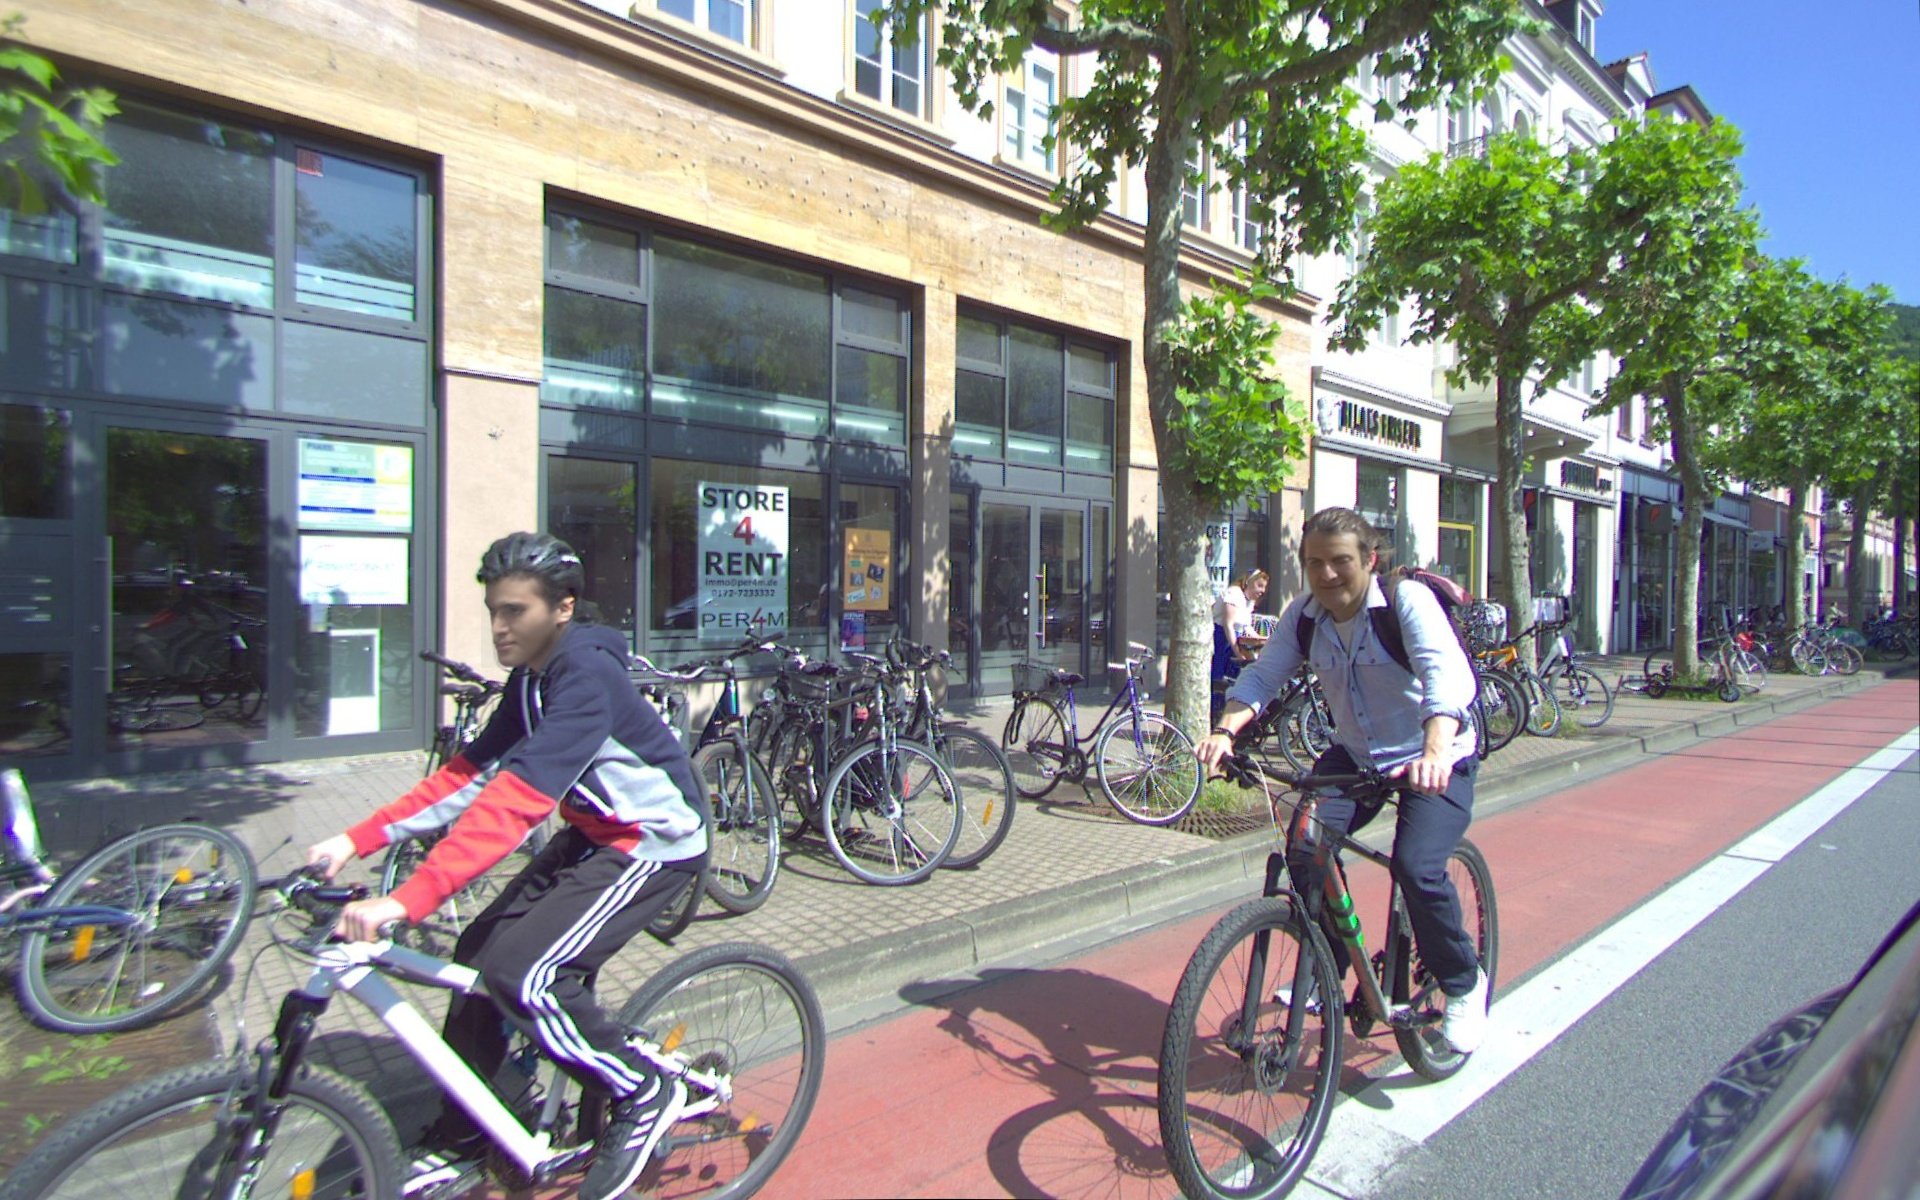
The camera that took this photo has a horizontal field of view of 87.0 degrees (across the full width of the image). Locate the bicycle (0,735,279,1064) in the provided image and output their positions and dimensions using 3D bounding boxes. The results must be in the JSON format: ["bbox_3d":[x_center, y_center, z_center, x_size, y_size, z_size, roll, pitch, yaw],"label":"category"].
[{"bbox_3d":[-3.285,0.952,3.623,1.833,0.725,0.652,0,0,29],"label":"bicycle"}]

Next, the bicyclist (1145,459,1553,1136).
[{"bbox_3d":[1.080,0.427,2.779,0.945,1.464,0.699,0,-1,-44],"label":"bicyclist"}]

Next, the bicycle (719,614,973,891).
[{"bbox_3d":[-0.686,0.702,5.456,0.465,1.216,1.848,0,0,-38],"label":"bicycle"}]

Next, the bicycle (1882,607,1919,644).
[{"bbox_3d":[31.229,0.839,32.971,0.439,1.141,1.850,0,1,-13],"label":"bicycle"}]

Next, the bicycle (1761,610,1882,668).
[{"bbox_3d":[17.923,0.792,21.100,0.487,1.141,1.848,0,-1,-29],"label":"bicycle"}]

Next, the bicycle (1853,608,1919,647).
[{"bbox_3d":[28.617,0.842,30.955,1.835,1.141,0.755,-2,0,37],"label":"bicycle"}]

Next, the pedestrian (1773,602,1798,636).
[{"bbox_3d":[31.926,0.716,39.128,0.598,1.268,0.640,-1,3,-43],"label":"pedestrian"}]

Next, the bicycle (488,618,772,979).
[{"bbox_3d":[-1.528,0.709,4.453,0.597,1.216,1.848,0,0,-38],"label":"bicycle"}]

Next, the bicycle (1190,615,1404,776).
[{"bbox_3d":[2.764,0.730,8.464,0.469,1.176,1.733,0,0,-38],"label":"bicycle"}]

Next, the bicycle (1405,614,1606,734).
[{"bbox_3d":[5.708,0.726,10.682,0.723,1.123,1.733,0,0,-38],"label":"bicycle"}]

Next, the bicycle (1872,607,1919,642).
[{"bbox_3d":[31.974,0.825,34.072,0.440,1.141,1.845,-1,1,-37],"label":"bicycle"}]

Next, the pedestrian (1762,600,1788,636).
[{"bbox_3d":[30.617,0.676,38.030,0.523,1.349,0.682,1,0,-43],"label":"pedestrian"}]

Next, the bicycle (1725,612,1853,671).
[{"bbox_3d":[16.536,0.802,20.226,0.779,1.111,1.846,0,0,-35],"label":"bicycle"}]

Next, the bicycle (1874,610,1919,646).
[{"bbox_3d":[29.558,0.872,31.318,0.554,1.107,1.843,0,-1,-40],"label":"bicycle"}]

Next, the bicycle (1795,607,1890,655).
[{"bbox_3d":[22.997,0.804,26.406,1.760,1.212,0.573,0,0,23],"label":"bicycle"}]

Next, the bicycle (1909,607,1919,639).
[{"bbox_3d":[36.022,0.857,37.024,0.654,1.141,1.844,0,1,-38],"label":"bicycle"}]

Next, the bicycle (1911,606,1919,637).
[{"bbox_3d":[37.328,0.843,38.309,0.632,1.141,1.844,0,1,-38],"label":"bicycle"}]

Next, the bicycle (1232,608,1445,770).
[{"bbox_3d":[3.194,0.701,8.693,0.469,1.232,1.733,0,0,-38],"label":"bicycle"}]

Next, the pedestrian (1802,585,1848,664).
[{"bbox_3d":[19.296,0.547,22.575,0.829,1.711,0.639,2,-3,-43],"label":"pedestrian"}]

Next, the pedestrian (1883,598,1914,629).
[{"bbox_3d":[51.502,0.742,55.562,0.892,1.631,0.970,1,4,21],"label":"pedestrian"}]

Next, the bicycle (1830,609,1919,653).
[{"bbox_3d":[24.536,0.826,27.115,1.838,1.141,0.490,-2,-3,42],"label":"bicycle"}]

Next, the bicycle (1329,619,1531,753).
[{"bbox_3d":[4.421,0.762,9.640,0.469,1.123,1.733,0,0,-38],"label":"bicycle"}]

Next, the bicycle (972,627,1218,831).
[{"bbox_3d":[0.825,0.756,6.613,0.596,1.109,1.653,0,0,-38],"label":"bicycle"}]

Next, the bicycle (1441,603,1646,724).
[{"bbox_3d":[6.718,0.678,11.744,0.723,1.264,1.936,0,0,-38],"label":"bicycle"}]

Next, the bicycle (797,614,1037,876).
[{"bbox_3d":[-0.298,0.701,5.625,0.465,1.216,1.653,0,0,-38],"label":"bicycle"}]

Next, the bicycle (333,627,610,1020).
[{"bbox_3d":[-2.071,0.733,4.137,0.647,1.179,1.848,0,0,-38],"label":"bicycle"}]

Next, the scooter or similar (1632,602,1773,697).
[{"bbox_3d":[10.652,0.683,14.560,0.656,1.291,1.481,0,-1,-29],"label":"scooter or similar"}]

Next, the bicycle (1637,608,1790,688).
[{"bbox_3d":[12.050,0.744,16.237,0.657,1.201,1.845,0,-1,-35],"label":"bicycle"}]

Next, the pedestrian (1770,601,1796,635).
[{"bbox_3d":[31.493,0.696,38.730,0.523,1.269,0.682,1,1,-43],"label":"pedestrian"}]

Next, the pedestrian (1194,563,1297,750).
[{"bbox_3d":[2.635,0.491,9.343,0.731,1.633,0.616,0,0,-40],"label":"pedestrian"}]

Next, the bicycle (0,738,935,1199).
[{"bbox_3d":[-1.035,0.973,1.983,2.047,1.141,0.699,0,-1,-44],"label":"bicycle"}]

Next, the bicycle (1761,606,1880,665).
[{"bbox_3d":[18.606,0.748,21.918,0.660,1.212,1.846,0,0,-33],"label":"bicycle"}]

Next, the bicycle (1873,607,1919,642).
[{"bbox_3d":[32.302,0.824,34.384,0.440,1.141,1.845,-1,1,-37],"label":"bicycle"}]

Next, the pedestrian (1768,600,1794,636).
[{"bbox_3d":[31.110,0.670,38.355,0.523,1.355,0.682,1,0,-43],"label":"pedestrian"}]

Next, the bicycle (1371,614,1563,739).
[{"bbox_3d":[5.045,0.716,10.171,0.395,1.123,1.733,0,0,-38],"label":"bicycle"}]

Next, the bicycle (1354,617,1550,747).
[{"bbox_3d":[4.754,0.746,9.884,0.395,1.123,1.733,0,0,-38],"label":"bicycle"}]

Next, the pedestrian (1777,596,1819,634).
[{"bbox_3d":[34.100,0.588,41.188,0.823,1.502,1.253,0,0,-43],"label":"pedestrian"}]

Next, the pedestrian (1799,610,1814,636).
[{"bbox_3d":[32.248,0.878,38.560,0.429,0.980,0.365,1,0,-39],"label":"pedestrian"}]

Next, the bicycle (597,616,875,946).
[{"bbox_3d":[-1.130,0.702,4.752,0.535,1.216,1.848,0,0,-38],"label":"bicycle"}]

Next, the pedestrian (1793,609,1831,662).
[{"bbox_3d":[20.766,0.860,24.670,0.587,1.248,0.640,-1,0,-43],"label":"pedestrian"}]

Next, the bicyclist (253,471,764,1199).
[{"bbox_3d":[-0.931,0.532,2.097,0.777,1.459,0.699,0,-1,-44],"label":"bicyclist"}]

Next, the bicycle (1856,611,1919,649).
[{"bbox_3d":[28.158,0.888,30.368,1.837,1.107,0.556,-1,-1,40],"label":"bicycle"}]

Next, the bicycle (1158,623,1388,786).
[{"bbox_3d":[2.439,0.762,8.069,0.596,1.109,1.733,0,0,-38],"label":"bicycle"}]

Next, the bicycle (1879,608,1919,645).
[{"bbox_3d":[30.545,0.830,32.214,1.818,1.141,0.591,0,1,14],"label":"bicycle"}]

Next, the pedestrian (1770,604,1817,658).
[{"bbox_3d":[20.097,0.732,24.400,0.566,1.258,0.788,-1,0,-43],"label":"pedestrian"}]

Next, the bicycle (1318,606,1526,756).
[{"bbox_3d":[4.208,0.687,9.342,0.469,1.232,1.733,0,0,-38],"label":"bicycle"}]

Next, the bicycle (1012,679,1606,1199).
[{"bbox_3d":[1.096,0.862,2.788,2.047,1.141,0.699,0,-1,-44],"label":"bicycle"}]

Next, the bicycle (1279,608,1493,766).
[{"bbox_3d":[3.677,0.698,8.867,0.469,1.232,1.733,0,0,-38],"label":"bicycle"}]

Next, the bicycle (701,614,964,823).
[{"bbox_3d":[-0.797,0.700,6.523,1.621,1.203,0.475,0,0,-29],"label":"bicycle"}]

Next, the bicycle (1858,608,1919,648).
[{"bbox_3d":[27.854,0.827,29.968,1.836,1.141,0.623,-2,-1,39],"label":"bicycle"}]
